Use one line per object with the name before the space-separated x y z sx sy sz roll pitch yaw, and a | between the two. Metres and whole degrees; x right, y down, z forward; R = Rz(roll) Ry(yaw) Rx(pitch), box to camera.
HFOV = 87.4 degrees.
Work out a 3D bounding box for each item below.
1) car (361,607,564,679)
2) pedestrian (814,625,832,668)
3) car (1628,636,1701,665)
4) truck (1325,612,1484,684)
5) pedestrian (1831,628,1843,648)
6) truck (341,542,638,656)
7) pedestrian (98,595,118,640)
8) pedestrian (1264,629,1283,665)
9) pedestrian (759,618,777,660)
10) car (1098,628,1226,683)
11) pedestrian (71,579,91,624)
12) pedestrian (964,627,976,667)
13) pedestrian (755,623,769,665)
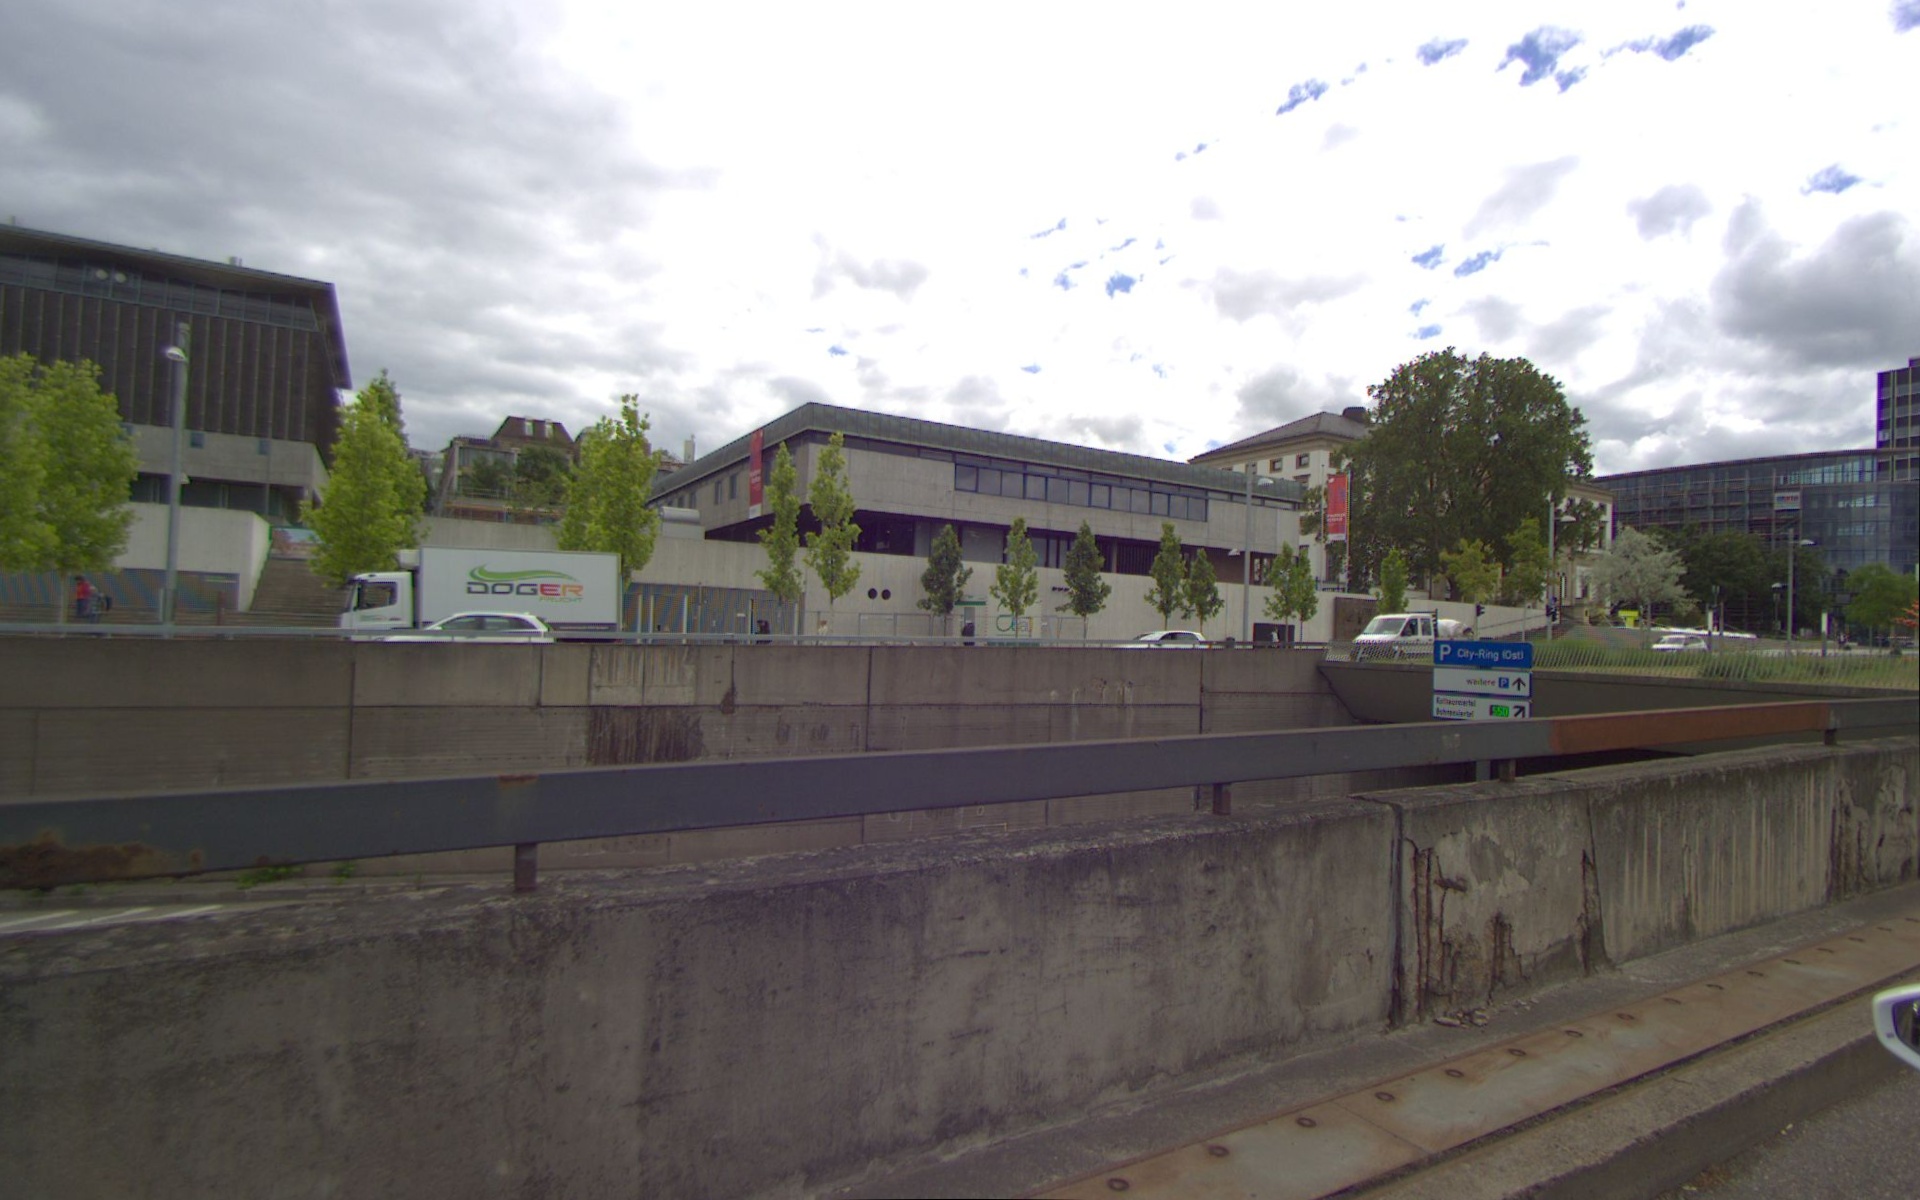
car | -11.877 1.004 24.149 4.217 1.595 1.712 1 0 -29
pedestrian | -4.916 1.668 36.106 0.457 1.542 0.424 2 0 -36
car | 41.710 2.961 59.487 4.555 1.595 1.712 1 0 -29
truck | 18.984 1.978 42.829 6.990 2.854 2.453 1 0 -29
pedestrian | 75.877 3.273 86.899 0.643 1.671 0.521 2 0 -31
truck | -13.038 0.027 28.197 7.166 2.825 3.216 1 0 -29
pedestrian | -29.280 0.593 34.507 0.457 1.542 0.377 2 0 -36
pedestrian | 15.409 2.318 49.386 0.655 1.757 0.537 1 0 -30
pedestrian | -7.118 1.442 37.236 0.457 1.542 0.458 2 0 -36
car | 7.240 1.940 35.941 4.207 1.840 1.984 1 0 -30
pedestrian | -30.771 0.056 35.172 0.457 1.542 0.377 2 0 -36
pedestrian | 0.403 1.863 39.869 0.314 1.542 0.315 2 0 -36
pedestrian | -7.424 1.643 37.689 0.314 1.542 0.410 2 0 -36
